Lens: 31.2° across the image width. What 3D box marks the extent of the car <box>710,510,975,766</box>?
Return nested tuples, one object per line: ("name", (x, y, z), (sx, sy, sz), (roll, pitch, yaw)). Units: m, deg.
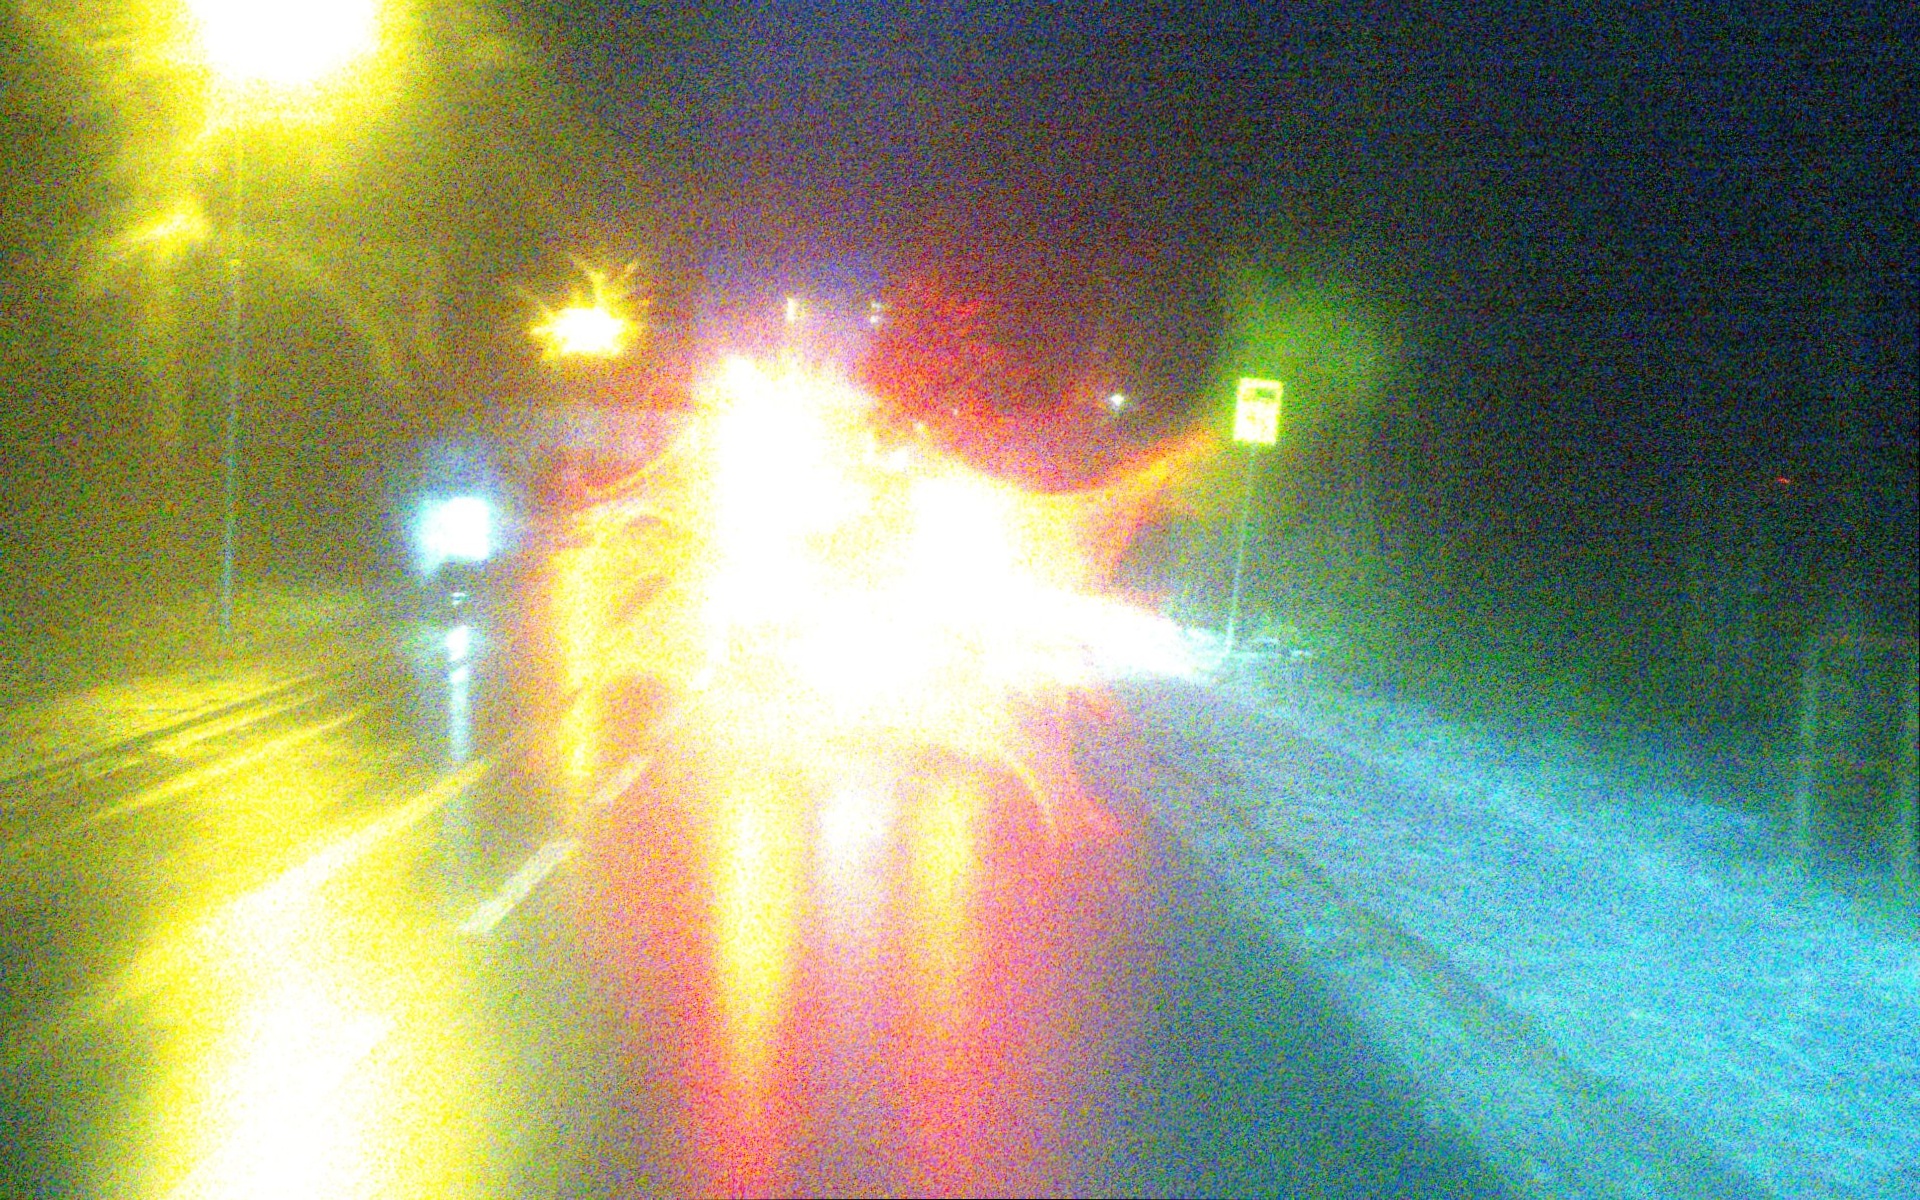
("car", (-0.847, 0.211, 25.435), (1.791, 1.675, 3.905), (1, 2, -1))
